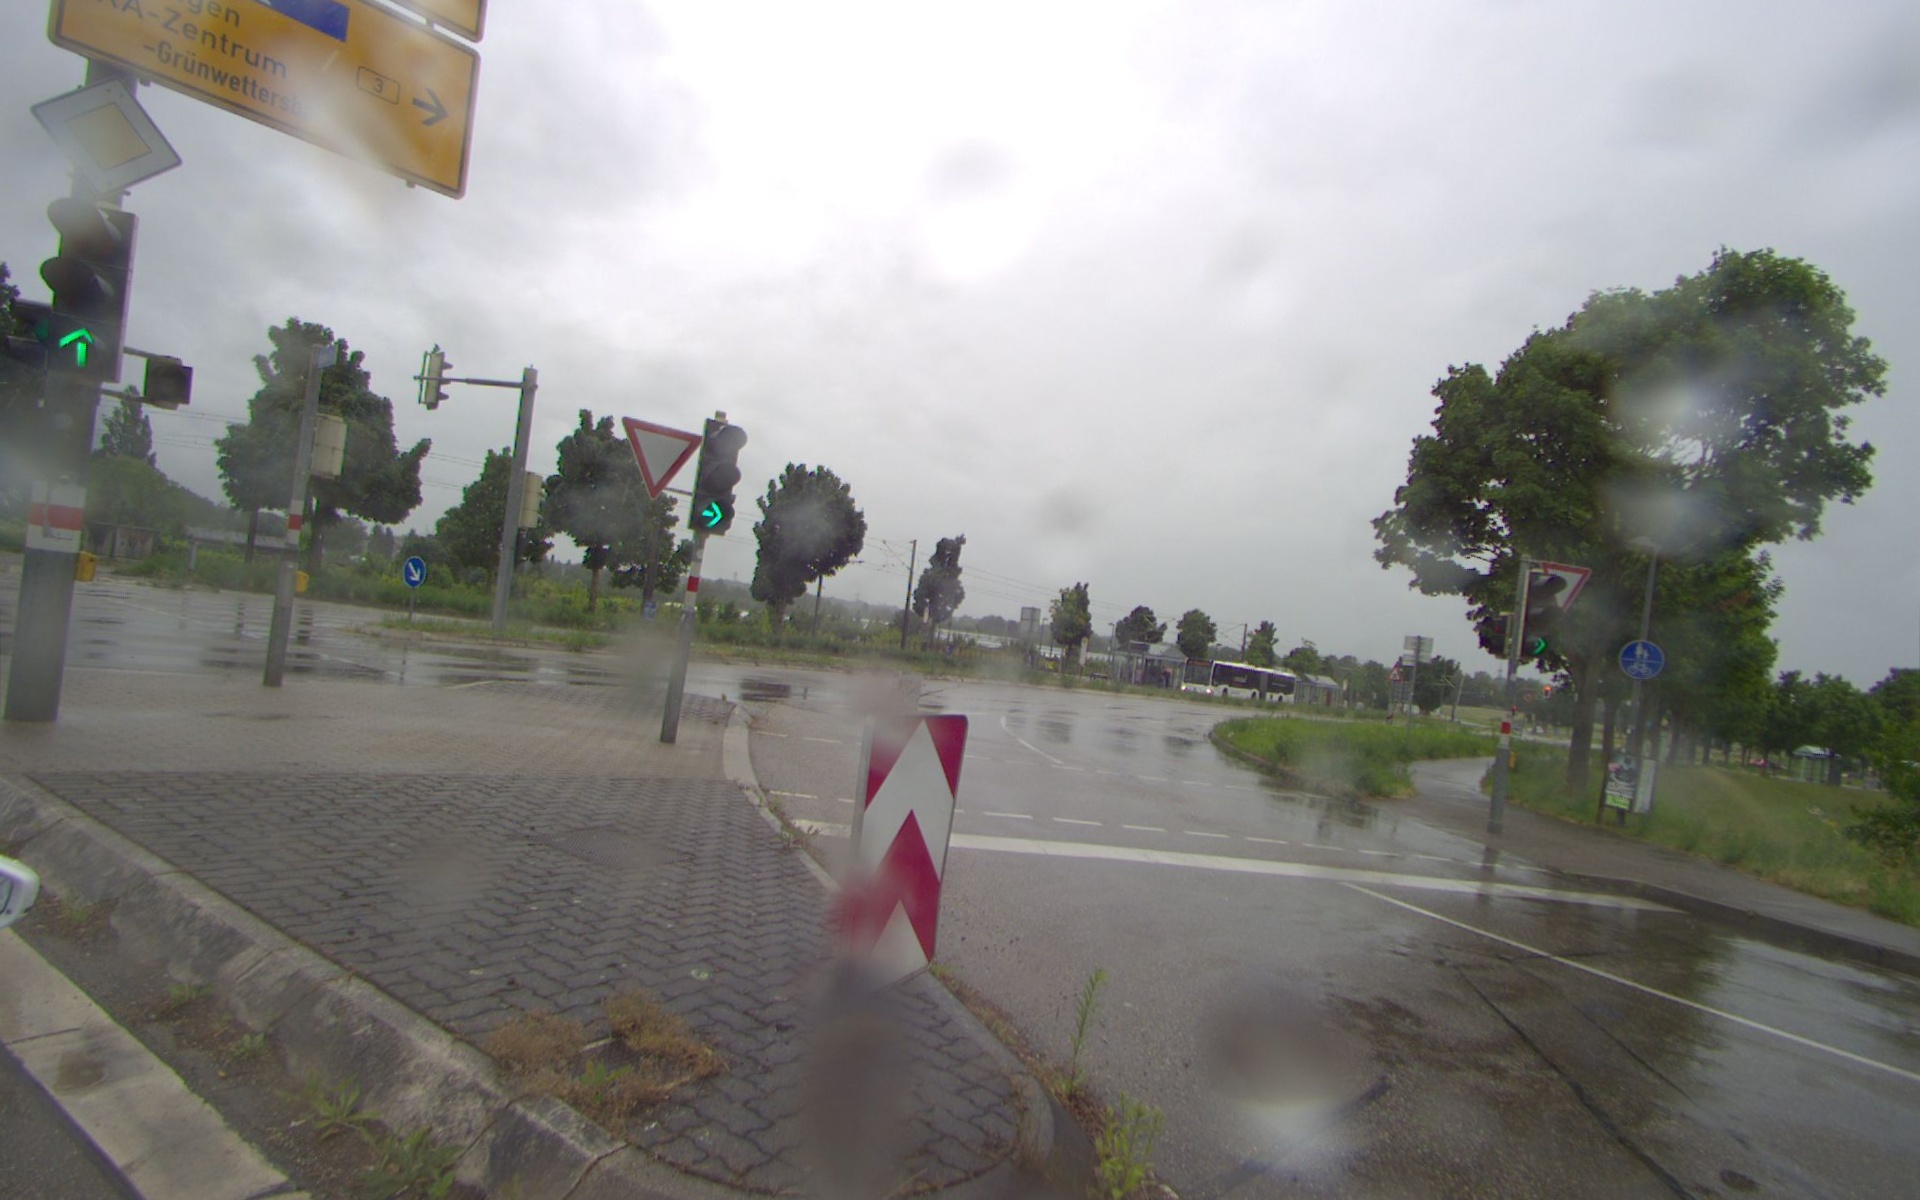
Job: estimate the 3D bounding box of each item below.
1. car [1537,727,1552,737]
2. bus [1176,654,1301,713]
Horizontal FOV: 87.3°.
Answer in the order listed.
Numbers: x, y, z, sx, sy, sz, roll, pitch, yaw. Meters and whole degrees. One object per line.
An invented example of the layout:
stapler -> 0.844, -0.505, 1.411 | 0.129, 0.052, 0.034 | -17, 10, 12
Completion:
car -> 104.278, 23.526, 179.425 | 1.850, 1.370, 4.042 | 7, -1, 34
bus -> 23.353, 7.048, 82.938 | 2.716, 3.828, 18.378 | 7, -2, 38
